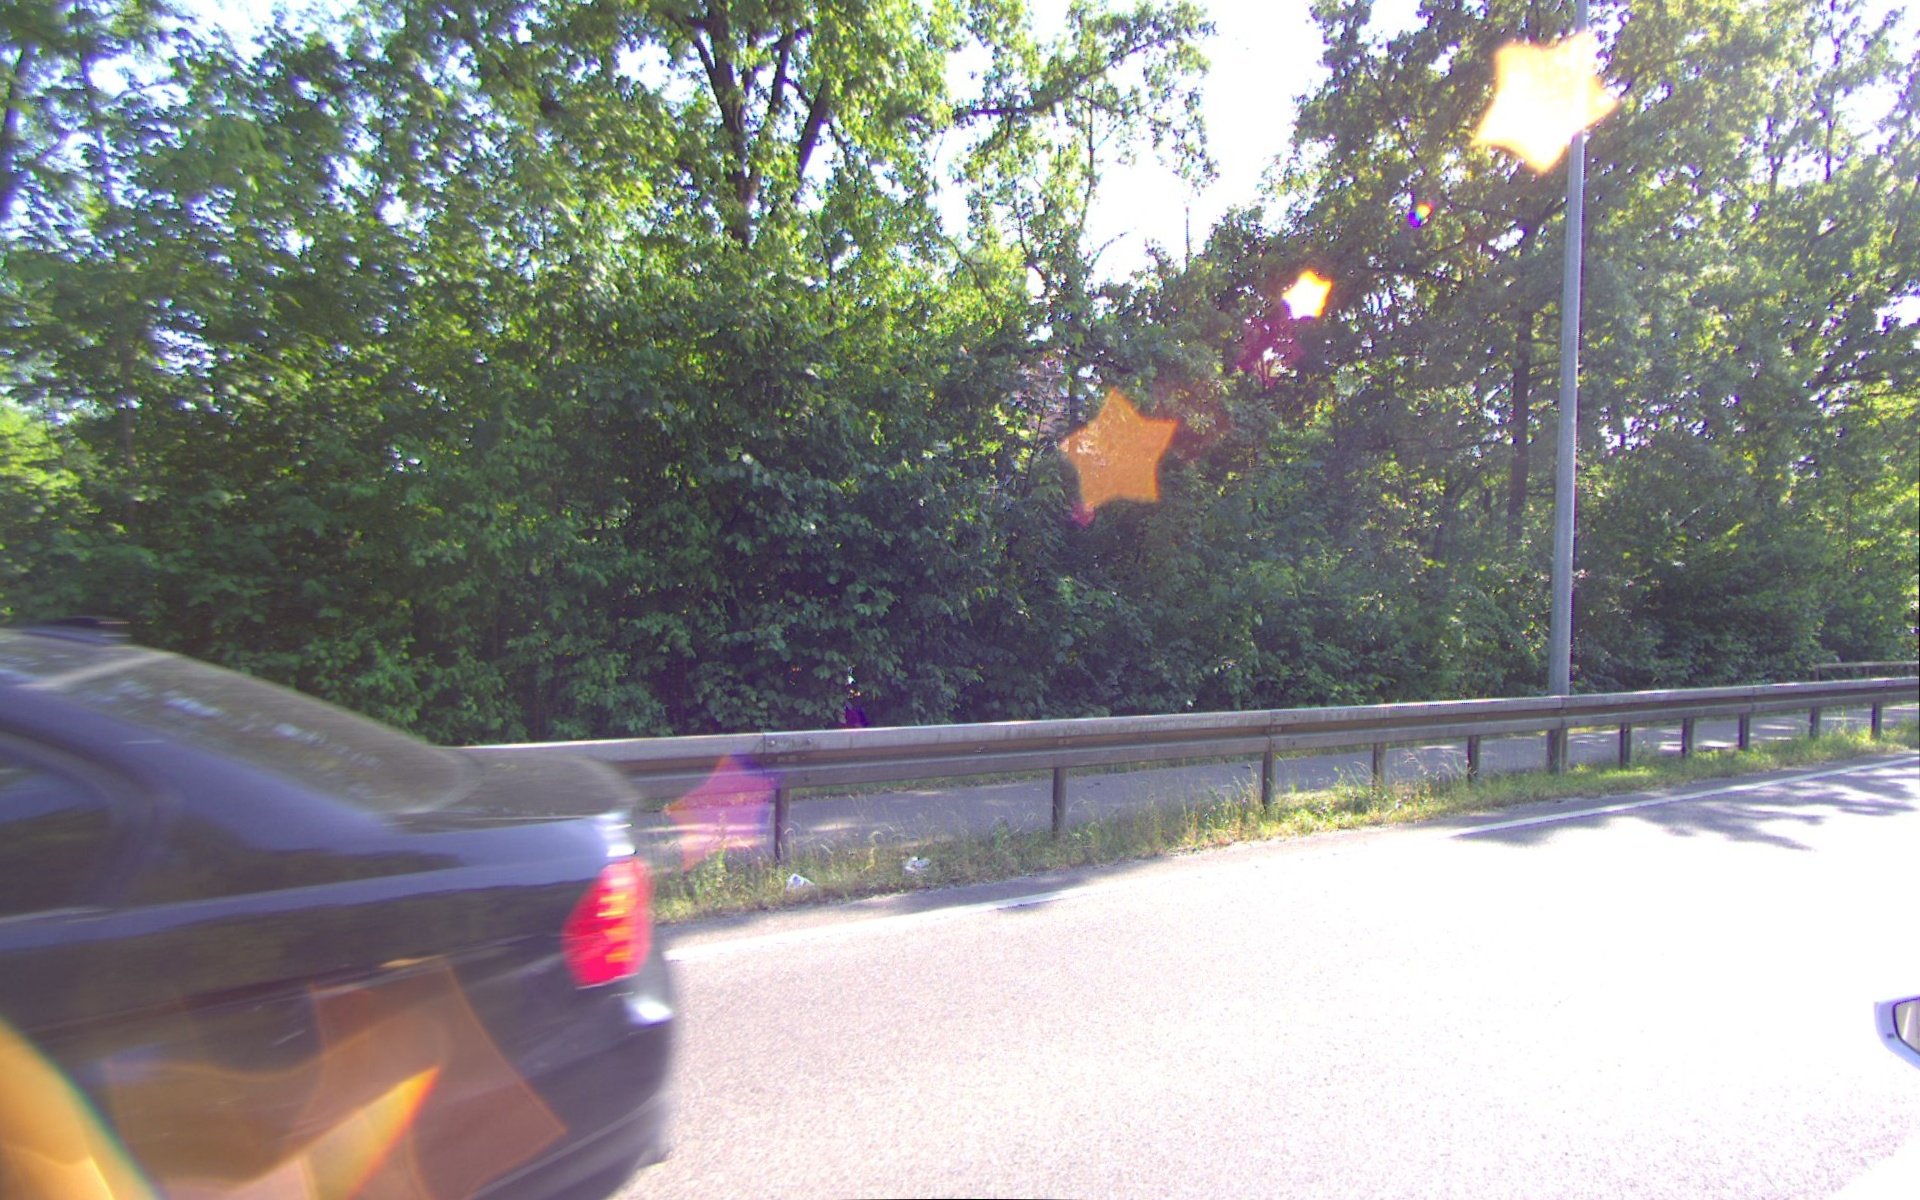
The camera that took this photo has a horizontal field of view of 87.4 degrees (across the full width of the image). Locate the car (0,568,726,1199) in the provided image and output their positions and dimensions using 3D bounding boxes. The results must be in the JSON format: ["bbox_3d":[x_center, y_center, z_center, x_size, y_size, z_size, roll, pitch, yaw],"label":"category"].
[{"bbox_3d":[-2.632,0.663,1.606,4.094,1.439,1.683,1,-1,-31],"label":"car"}]
